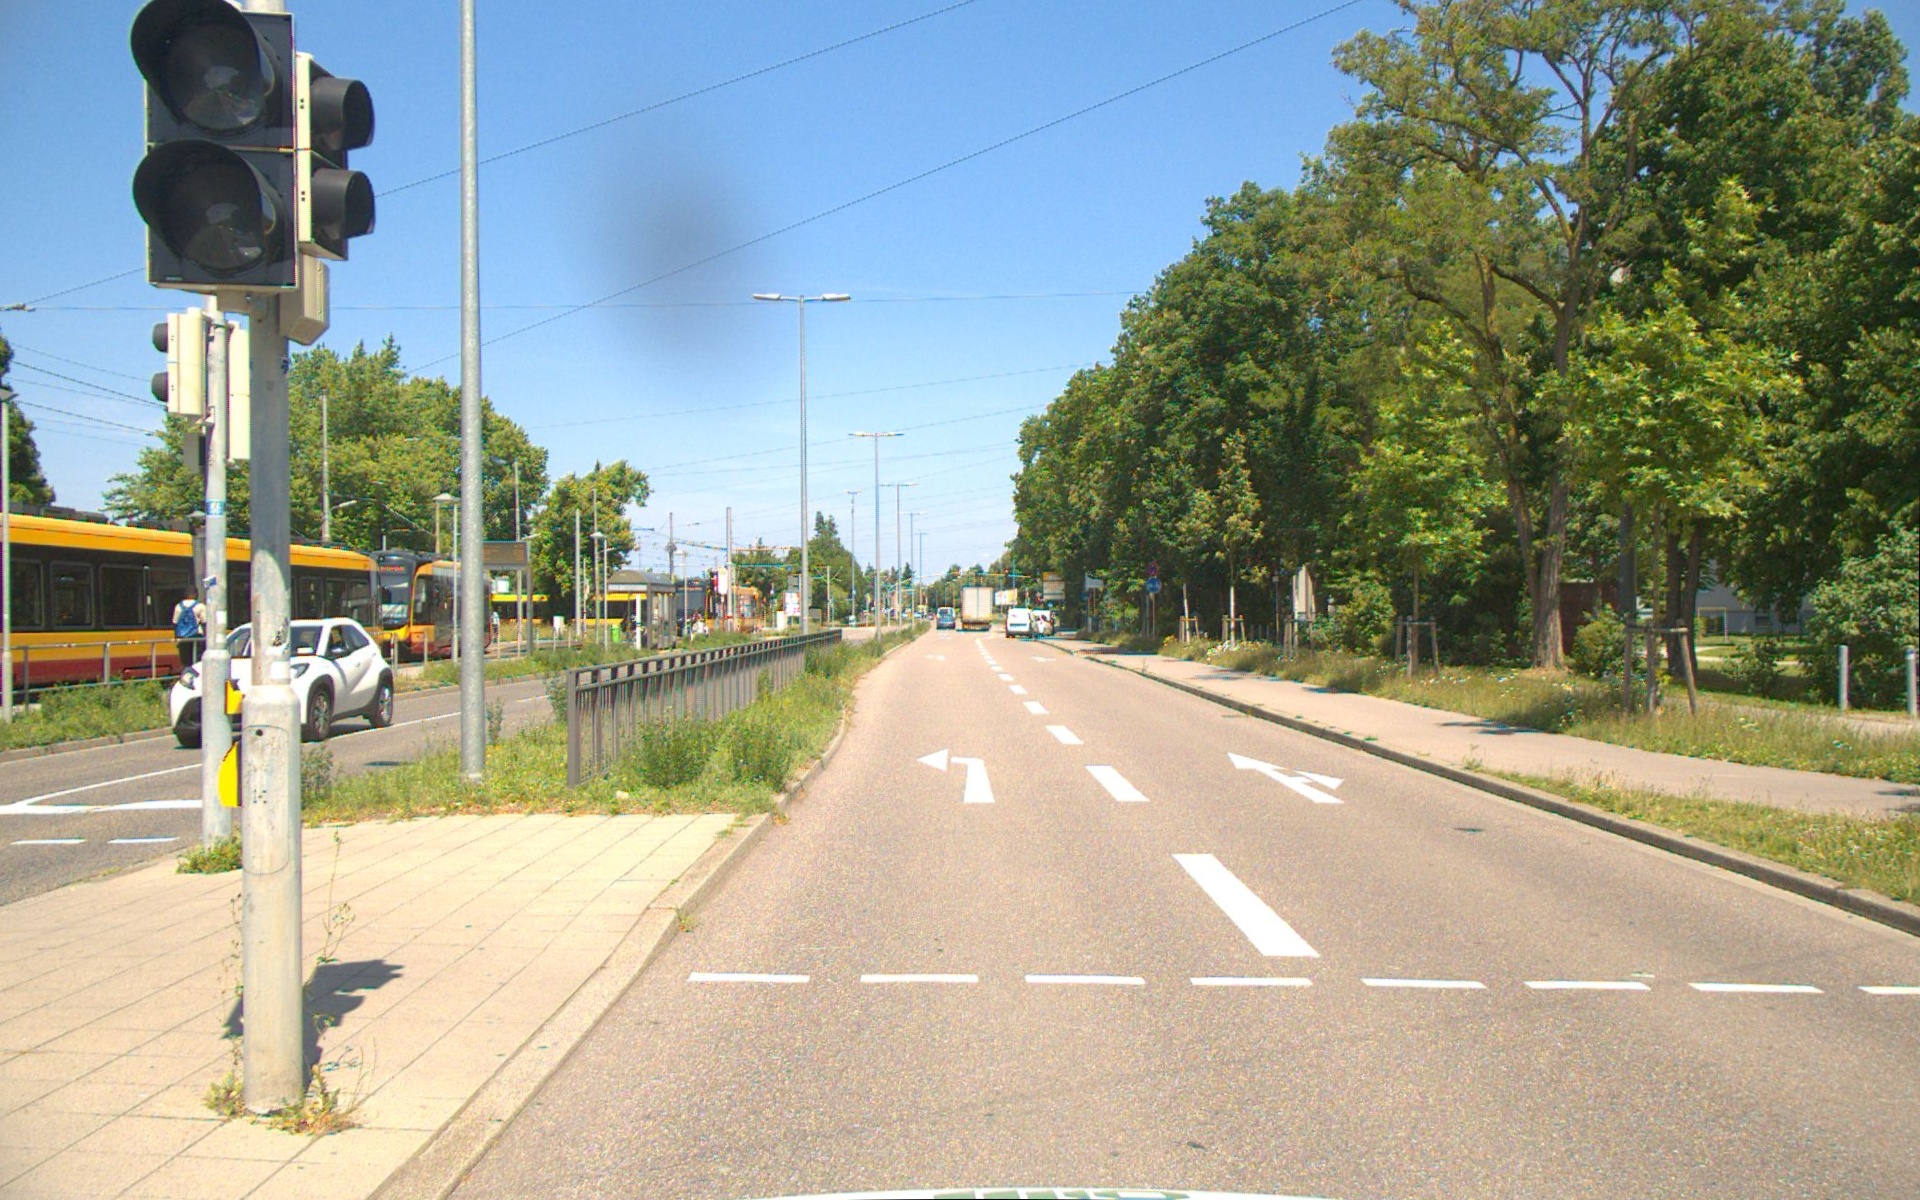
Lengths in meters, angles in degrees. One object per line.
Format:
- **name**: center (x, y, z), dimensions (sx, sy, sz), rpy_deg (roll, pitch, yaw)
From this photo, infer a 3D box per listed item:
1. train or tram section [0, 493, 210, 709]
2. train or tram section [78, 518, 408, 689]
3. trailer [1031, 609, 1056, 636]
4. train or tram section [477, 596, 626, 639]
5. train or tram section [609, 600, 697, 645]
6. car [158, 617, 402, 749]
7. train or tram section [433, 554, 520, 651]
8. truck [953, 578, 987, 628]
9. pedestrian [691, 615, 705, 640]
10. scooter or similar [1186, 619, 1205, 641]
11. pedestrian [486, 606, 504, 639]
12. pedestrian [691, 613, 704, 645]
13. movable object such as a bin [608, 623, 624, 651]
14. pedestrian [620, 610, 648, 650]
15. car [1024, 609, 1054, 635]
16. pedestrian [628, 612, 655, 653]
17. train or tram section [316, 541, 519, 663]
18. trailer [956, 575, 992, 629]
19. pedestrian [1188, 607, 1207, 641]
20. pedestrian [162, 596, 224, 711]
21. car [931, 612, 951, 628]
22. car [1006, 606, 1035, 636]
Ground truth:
- **train or tram section**: center (-18.431, 0.000, 31.104), dimensions (2.982, 3.807, 12.593), rpy_deg (1, 0, -1)
- **train or tram section**: center (-18.483, 0.114, 44.165), dimensions (2.981, 3.833, 13.260), rpy_deg (1, 0, 0)
- **trailer**: center (5.492, 1.486, 108.930), dimensions (1.439, 1.698, 2.855), rpy_deg (1, 0, -2)
- **train or tram section**: center (-36.357, 1.528, 147.130), dimensions (12.941, 3.526, 3.048), rpy_deg (1, 0, 14)
- **train or tram section**: center (-26.082, 1.851, 139.941), dimensions (3.006, 3.526, 12.614), rpy_deg (1, 0, -31)
- **car**: center (-8.659, 0.997, 21.402), dimensions (1.734, 1.531, 3.718), rpy_deg (0, 0, -2)
- **train or tram section**: center (-20.116, 0.115, 69.346), dimensions (2.993, 3.688, 12.404), rpy_deg (1, 0, -14)
- **truck**: center (0.864, 0.207, 152.796), dimensions (2.770, 4.420, 8.281), rpy_deg (2, 0, -2)
- **pedestrian**: center (-12.775, 1.350, 80.627), dimensions (0.569, 1.210, 0.536), rpy_deg (1, -1, -4)
- **scooter or similar**: center (10.213, 1.292, 71.649), dimensions (0.693, 0.909, 0.763), rpy_deg (1, 0, 0)
- **pedestrian**: center (-22.970, 1.097, 81.674), dimensions (0.788, 1.593, 0.534), rpy_deg (1, -1, -15)
- **pedestrian**: center (-13.011, 1.424, 82.005), dimensions (0.524, 1.593, 0.582), rpy_deg (1, -1, -2)
- **movable object such as a bin**: center (-12.338, 1.336, 59.393), dimensions (0.472, 0.995, 0.644), rpy_deg (0, -1, -5)
- **pedestrian**: center (-13.026, 1.185, 66.072), dimensions (0.912, 1.573, 0.985), rpy_deg (1, -1, -3)
- **car**: center (5.378, 1.487, 112.551), dimensions (1.665, 1.683, 4.397), rpy_deg (1, 0, -2)
- **pedestrian**: center (-12.497, 1.251, 64.859), dimensions (0.856, 1.573, 1.025), rpy_deg (1, -1, -3)
- **train or tram section**: center (-18.514, 0.091, 57.772), dimensions (2.982, 3.688, 13.890), rpy_deg (1, 0, -2)
- **trailer**: center (1.177, 0.212, 144.216), dimensions (2.770, 4.499, 8.745), rpy_deg (1, 0, -2)
- **pedestrian**: center (10.203, 1.033, 71.151), dimensions (0.693, 1.422, 0.763), rpy_deg (1, -1, 0)
- **pedestrian**: center (-12.376, 0.850, 26.707), dimensions (0.619, 1.822, 0.776), rpy_deg (1, -1, -2)
- **car**: center (-1.791, 1.882, 155.161), dimensions (1.854, 1.396, 4.428), rpy_deg (2, -2, -1)
- **car**: center (3.782, 1.307, 102.588), dimensions (1.674, 1.778, 4.429), rpy_deg (1, 0, 4)
